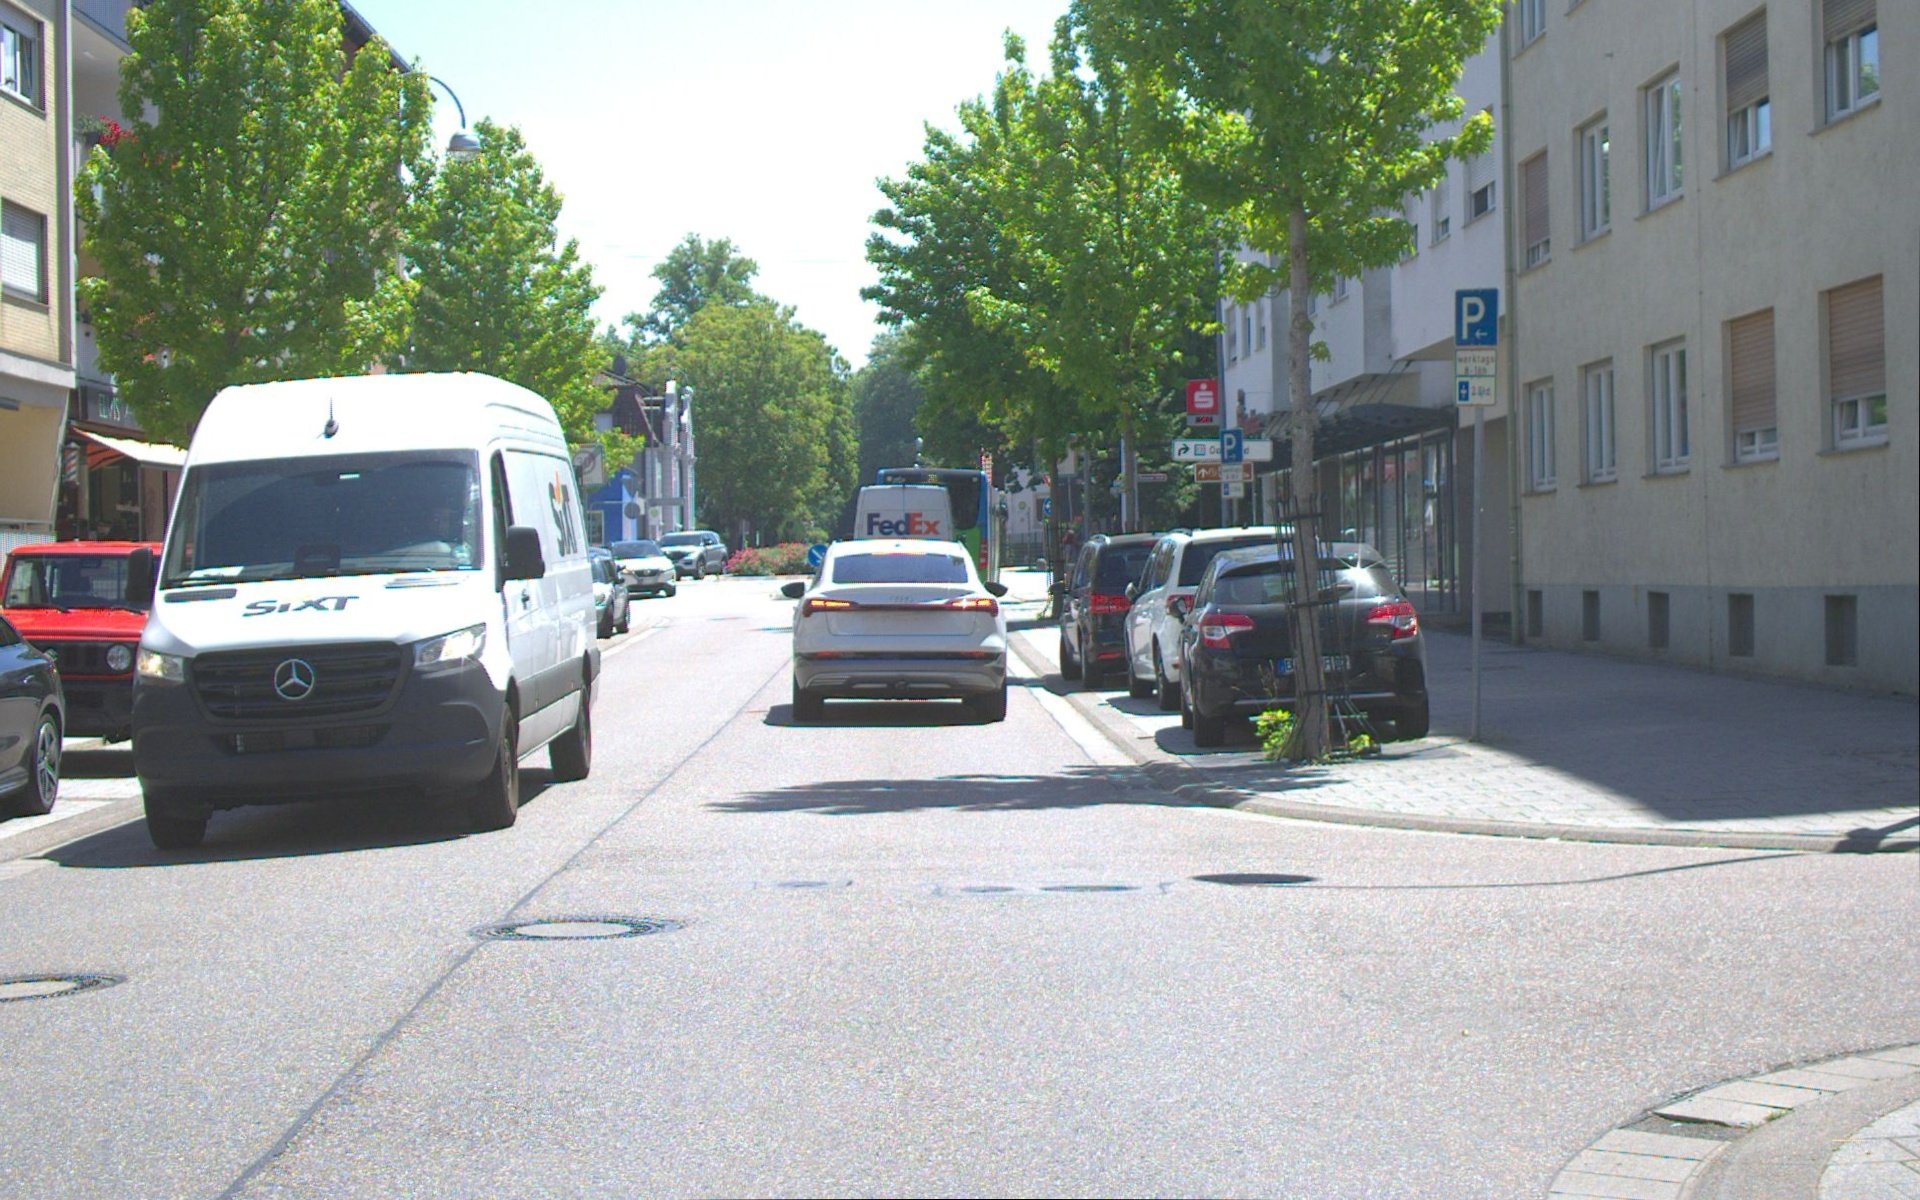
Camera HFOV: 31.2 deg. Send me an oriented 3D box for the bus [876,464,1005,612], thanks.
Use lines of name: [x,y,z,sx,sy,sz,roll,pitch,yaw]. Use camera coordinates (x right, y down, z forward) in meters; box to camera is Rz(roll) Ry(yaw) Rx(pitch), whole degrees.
bus: [-0.385,-1.404,79.358,2.661,3.210,7.301,1,1,2]

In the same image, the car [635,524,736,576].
car: [-9.560,-1.735,120.022,1.867,1.751,3.995,1,1,22]

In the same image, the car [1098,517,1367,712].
car: [2.546,0.092,33.241,1.896,1.669,4.691,-3,1,-3]

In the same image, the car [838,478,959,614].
car: [-1.140,-1.009,65.044,2.156,2.433,5.283,1,1,-1]

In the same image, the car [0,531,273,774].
car: [-6.518,0.334,26.319,1.752,1.696,4.102,1,1,-1]

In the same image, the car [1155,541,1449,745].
car: [2.601,0.273,27.101,1.896,1.433,4.544,-1,1,1]

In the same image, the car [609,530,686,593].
car: [-8.925,-1.098,98.376,1.856,1.686,4.151,-2,1,-1]

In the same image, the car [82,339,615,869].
car: [-3.487,-0.038,21.164,2.036,2.621,7.108,-3,1,-1]

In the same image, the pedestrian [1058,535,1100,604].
pedestrian: [2.612,-0.674,75.575,0.717,1.497,0.582,-1,1,24]

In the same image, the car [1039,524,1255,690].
car: [2.029,0.034,38.582,1.855,1.669,4.537,-3,1,-3]

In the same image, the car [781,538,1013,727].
car: [-0.618,0.251,31.796,1.993,1.627,4.000,0,1,-2]

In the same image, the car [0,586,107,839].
car: [-6.452,0.649,19.848,1.896,1.412,5.048,1,1,-1]

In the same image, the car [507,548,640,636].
car: [-6.763,-0.169,60.496,1.752,1.448,4.401,1,1,1]
